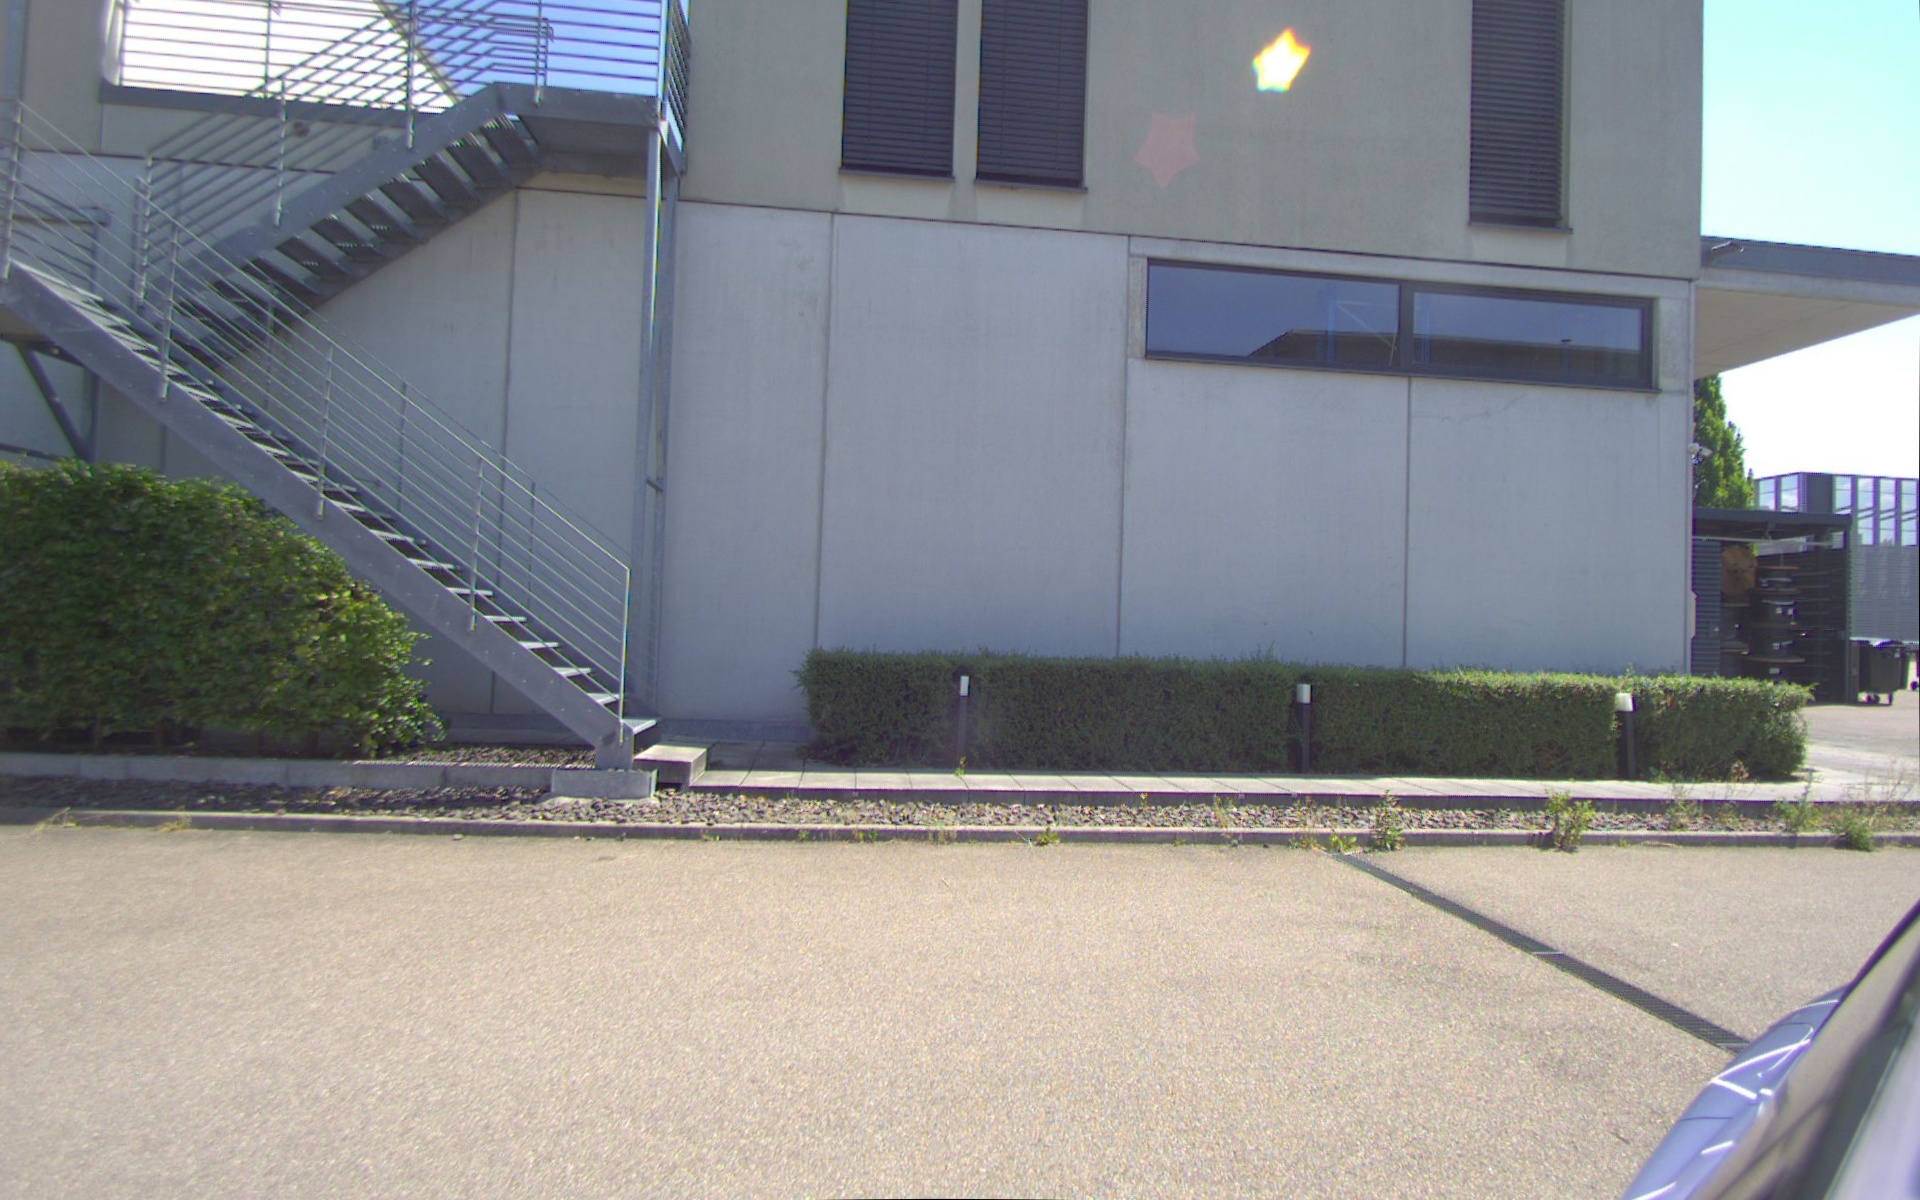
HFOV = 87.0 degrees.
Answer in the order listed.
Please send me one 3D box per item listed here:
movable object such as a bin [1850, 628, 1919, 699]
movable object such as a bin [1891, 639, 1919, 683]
[{"bbox_3d":[17.557,1.179,19.078,0.787,1.265,0.876,1,0,2],"label":"movable object such as a bin"},{"bbox_3d":[20.995,1.339,22.290,0.537,0.929,0.586,1,0,-31],"label":"movable object such as a bin"}]
